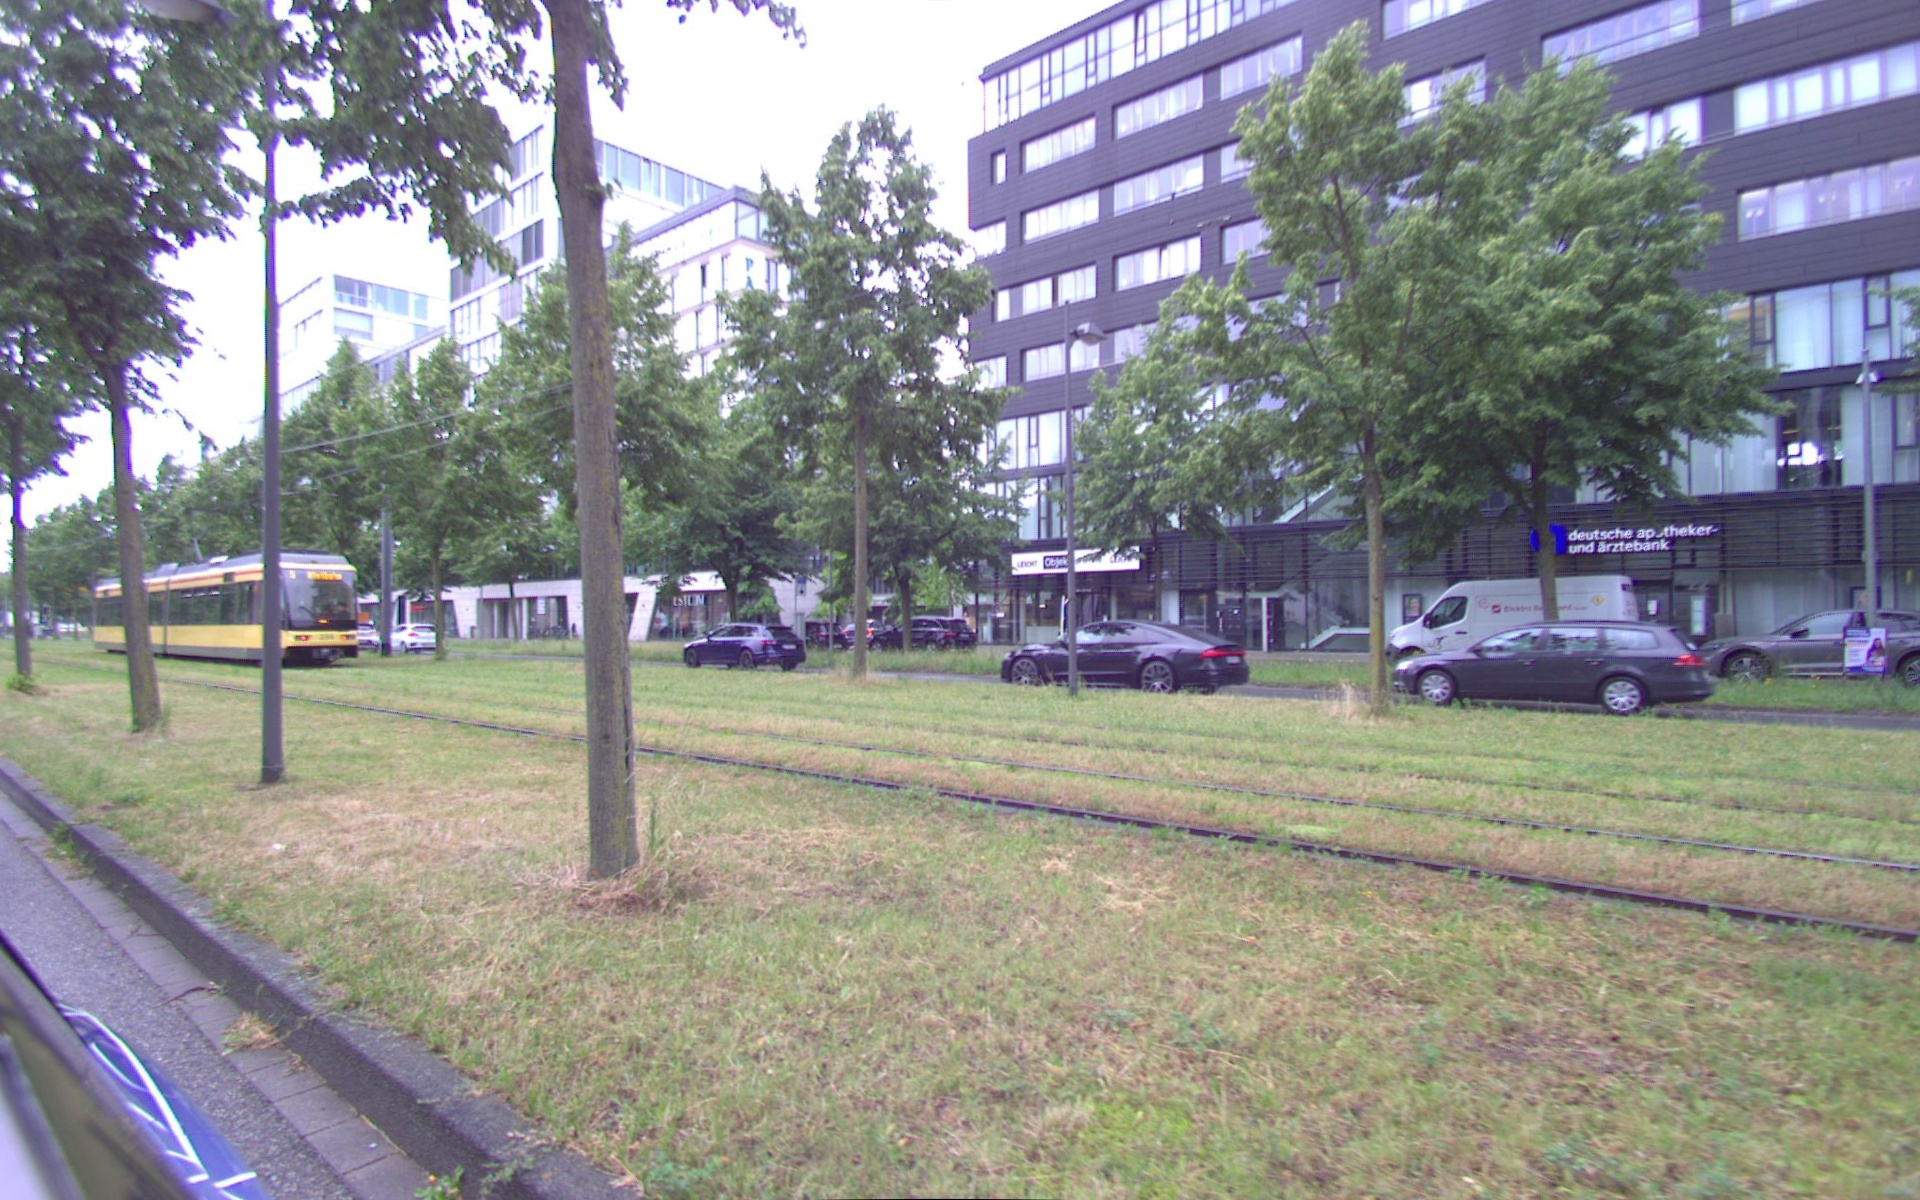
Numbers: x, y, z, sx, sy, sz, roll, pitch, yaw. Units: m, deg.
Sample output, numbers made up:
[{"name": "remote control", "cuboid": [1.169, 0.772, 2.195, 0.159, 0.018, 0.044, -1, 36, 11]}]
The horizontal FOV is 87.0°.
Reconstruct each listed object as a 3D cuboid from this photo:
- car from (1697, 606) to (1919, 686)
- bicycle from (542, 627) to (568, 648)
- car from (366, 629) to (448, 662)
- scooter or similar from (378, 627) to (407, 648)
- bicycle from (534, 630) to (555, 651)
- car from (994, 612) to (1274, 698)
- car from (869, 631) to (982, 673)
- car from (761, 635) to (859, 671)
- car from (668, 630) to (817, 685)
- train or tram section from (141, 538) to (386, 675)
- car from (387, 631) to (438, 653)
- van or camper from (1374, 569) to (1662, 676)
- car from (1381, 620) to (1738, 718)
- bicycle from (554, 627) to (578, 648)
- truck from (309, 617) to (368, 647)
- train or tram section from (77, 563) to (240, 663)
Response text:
[{"name": "car", "cuboid": [18.169, 0.913, 20.916, 4.603, 1.533, 1.973, -2, -1, 40]}, {"name": "bicycle", "cuboid": [-30.457, 2.821, 76.049, 0.680, 1.550, 1.686, -2, -1, 40]}, {"name": "car", "cuboid": [-27.471, 2.231, 50.188, 4.869, 1.533, 1.973, -2, -1, 40]}, {"name": "scooter or similar", "cuboid": [-51.416, 3.425, 91.729, 0.883, 1.838, 2.105, -2, -1, 37]}, {"name": "bicycle", "cuboid": [-31.753, 3.085, 77.314, 0.546, 1.494, 1.417, -2, -1, 40]}, {"name": "car", "cuboid": [3.153, 0.963, 19.006, 4.870, 1.390, 1.973, -1, -1, 41]}, {"name": "car", "cuboid": [-1.327, 1.909, 37.928, 4.239, 1.460, 1.684, -2, -1, 41]}, {"name": "car", "cuboid": [-6.322, 2.201, 42.536, 3.998, 1.389, 1.973, -2, -1, 41]}, {"name": "car", "cuboid": [-6.793, 1.726, 31.309, 4.869, 1.533, 1.973, -2, -1, 41]}, {"name": "train or tram section", "cuboid": [-23.427, 0.327, 33.358, 15.056, 3.687, 3.096, -2, -1, 41]}, {"name": "car", "cuboid": [-38.097, 2.894, 70.339, 3.986, 1.476, 1.836, -2, -2, 41]}, {"name": "van or camper", "cuboid": [13.632, 0.561, 24.990, 5.847, 2.333, 2.408, -2, -1, 41]}, {"name": "car", "cuboid": [9.882, 1.056, 16.947, 4.870, 1.390, 1.973, -2, -1, 41]}, {"name": "bicycle", "cuboid": [-29.377, 2.793, 75.449, 0.606, 1.550, 1.552, -2, -1, 40]}, {"name": "truck", "cuboid": [-50.772, 2.577, 82.606, 6.305, 2.309, 2.401, -2, -1, 41]}, {"name": "train or tram section", "cuboid": [-34.153, 0.611, 42.786, 13.399, 3.687, 3.096, -2, -1, 41]}]
